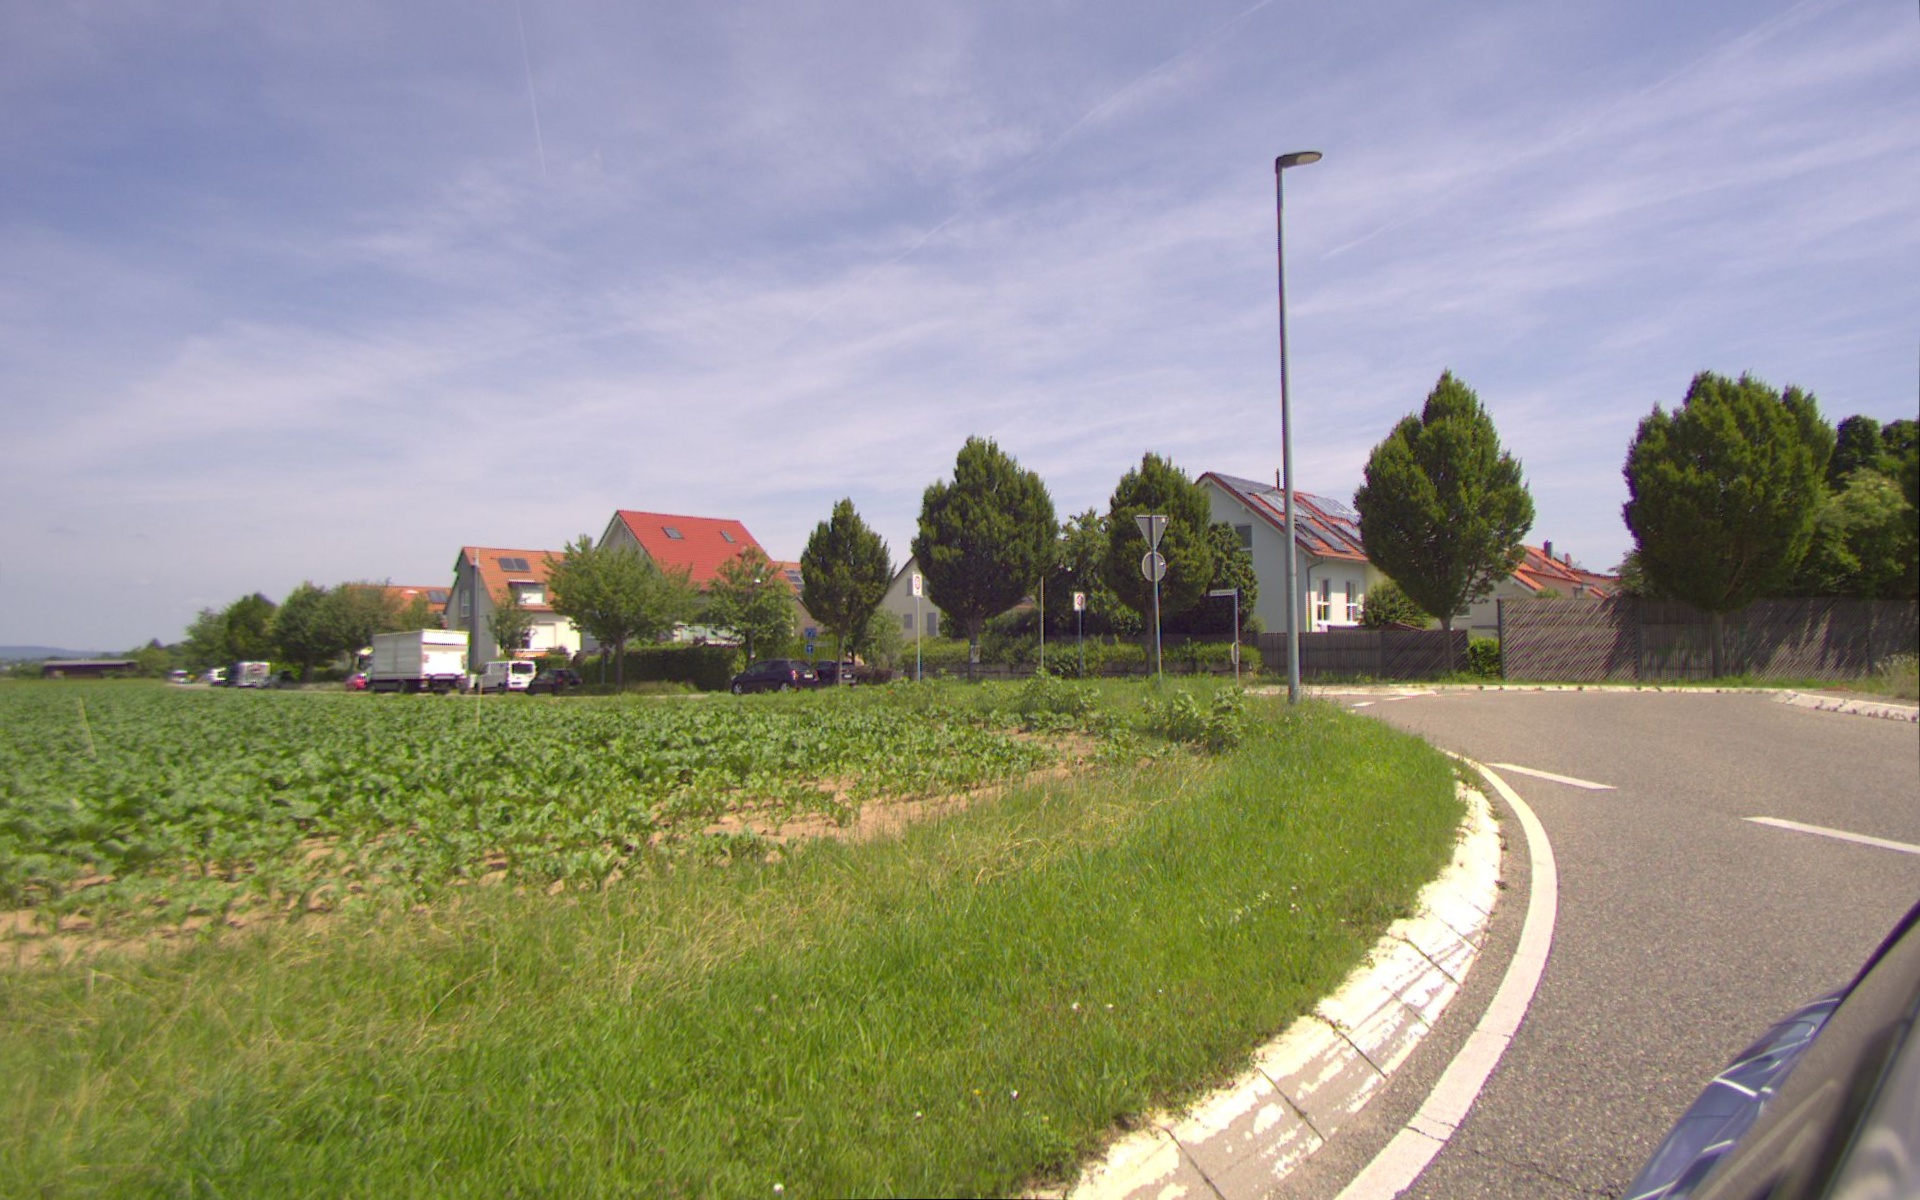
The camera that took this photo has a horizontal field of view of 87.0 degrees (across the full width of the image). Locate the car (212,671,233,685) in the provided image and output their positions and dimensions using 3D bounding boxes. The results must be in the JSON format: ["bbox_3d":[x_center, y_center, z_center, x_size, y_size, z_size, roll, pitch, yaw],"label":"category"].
[{"bbox_3d":[-89.864,9.477,123.298,3.223,1.683,1.397,-5,-5,43],"label":"car"}]

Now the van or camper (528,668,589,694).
[{"bbox_3d":[-21.570,4.363,54.335,3.668,1.236,1.574,-6,-5,41],"label":"van or camper"}]

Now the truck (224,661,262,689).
[{"bbox_3d":[-78.889,8.240,111.288,6.750,2.926,2.073,-5,-5,43],"label":"truck"}]

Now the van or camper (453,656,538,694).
[{"bbox_3d":[-27.836,4.522,60.503,6.747,2.063,2.074,-6,-5,41],"label":"van or camper"}]

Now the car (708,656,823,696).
[{"bbox_3d":[-7.694,3.016,39.911,4.390,1.484,1.661,-3,-4,28],"label":"car"}]

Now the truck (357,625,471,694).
[{"bbox_3d":[-31.907,3.587,58.891,9.339,3.720,2.733,-5,-6,42],"label":"truck"}]

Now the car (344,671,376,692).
[{"bbox_3d":[-47.162,6.349,79.542,1.496,1.403,3.481,2,-1,-41],"label":"car"}]

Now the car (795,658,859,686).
[{"bbox_3d":[-7.738,4.149,58.716,1.683,1.572,3.988,2,-4,-44],"label":"car"}]
